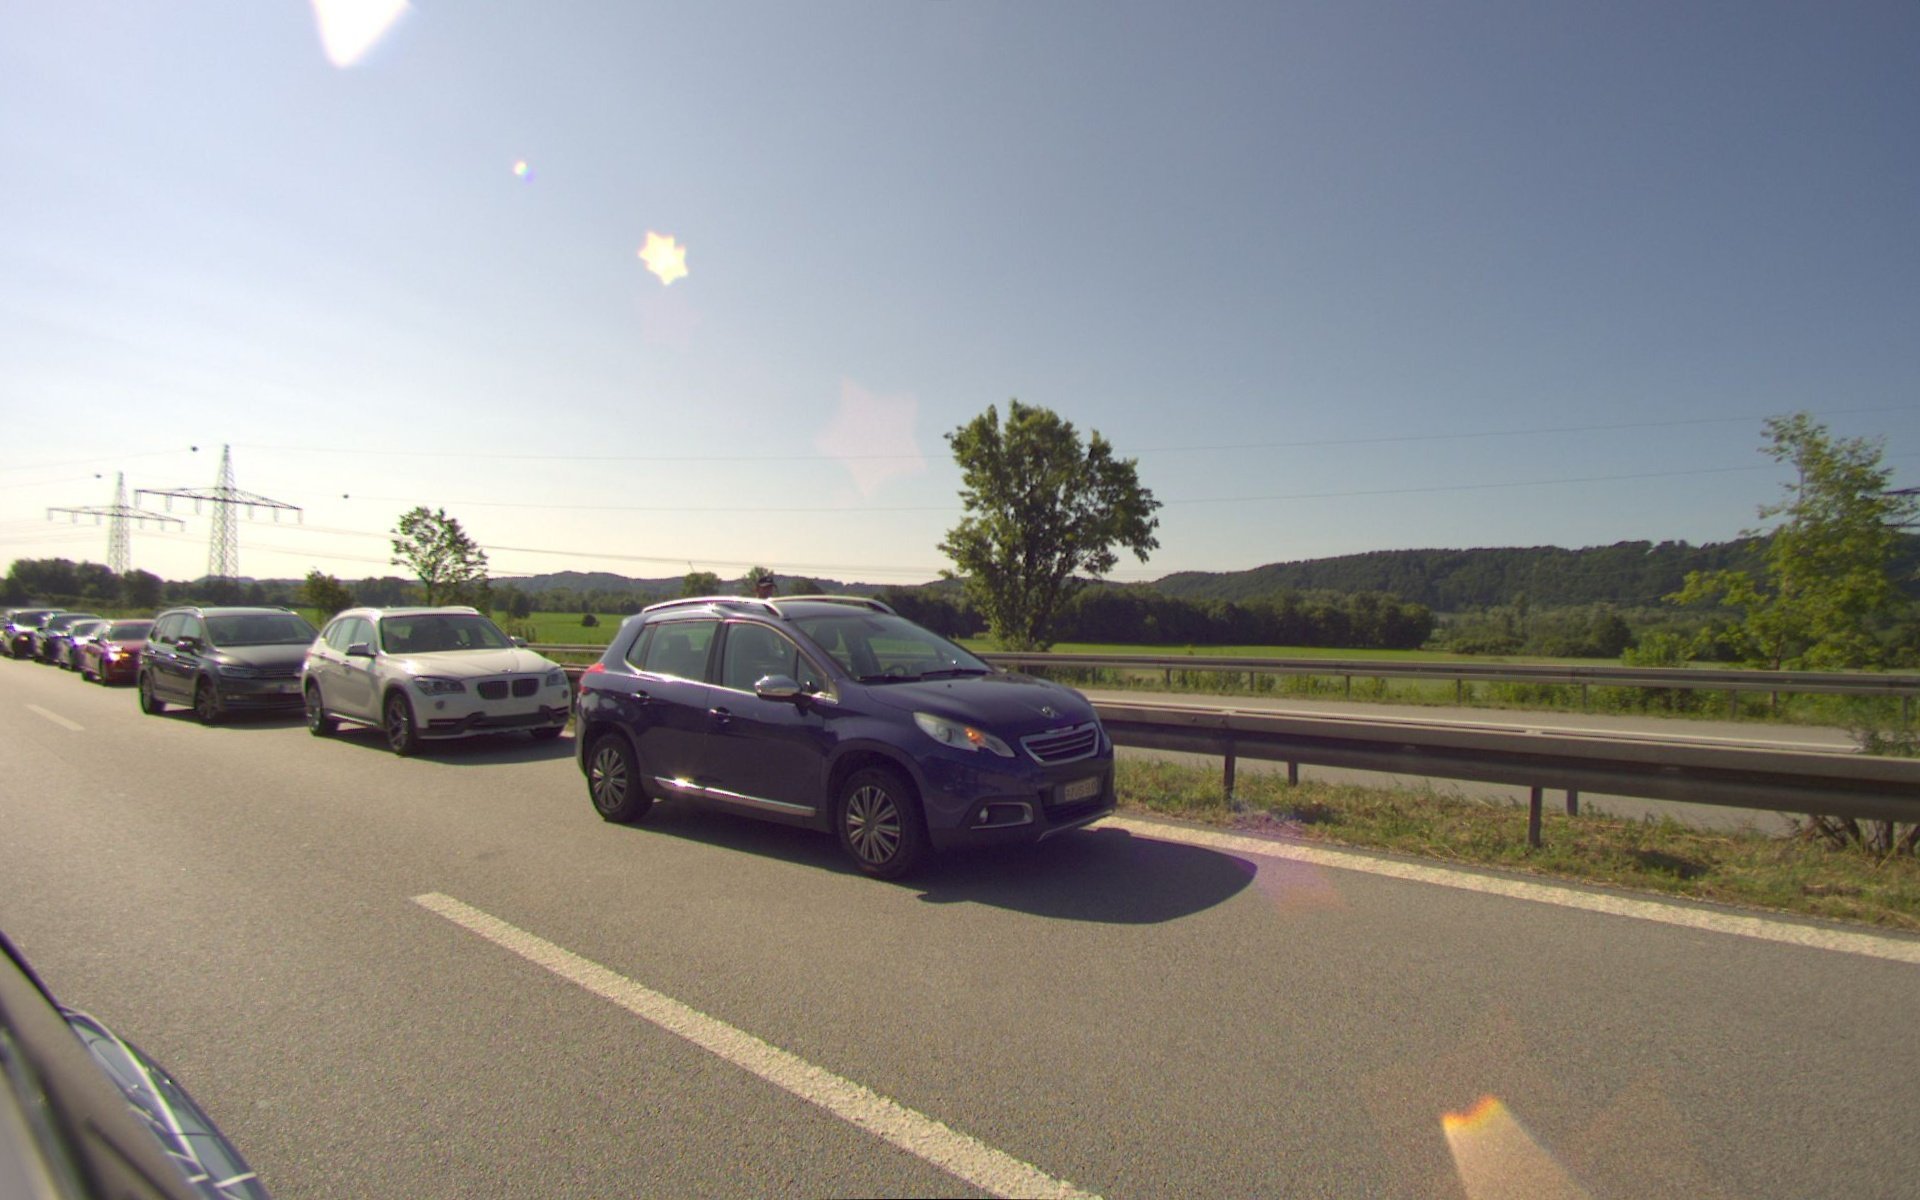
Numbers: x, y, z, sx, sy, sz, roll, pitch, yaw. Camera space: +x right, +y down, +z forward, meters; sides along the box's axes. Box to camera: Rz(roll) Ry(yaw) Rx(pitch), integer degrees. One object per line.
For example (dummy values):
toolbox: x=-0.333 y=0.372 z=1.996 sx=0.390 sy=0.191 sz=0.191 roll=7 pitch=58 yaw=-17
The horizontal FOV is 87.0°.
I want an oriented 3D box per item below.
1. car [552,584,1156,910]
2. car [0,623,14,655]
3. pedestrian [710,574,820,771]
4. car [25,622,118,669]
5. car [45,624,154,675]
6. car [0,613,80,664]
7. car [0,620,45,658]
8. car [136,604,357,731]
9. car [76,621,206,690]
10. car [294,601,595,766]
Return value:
car: x=-0.878 y=0.723 z=6.713 sx=3.944 sy=1.546 sz=1.671 roll=-1 pitch=0 yaw=39
car: x=-47.463 y=1.879 z=49.067 sx=3.998 sy=1.542 sz=1.973 roll=-1 pitch=-2 yaw=41
pedestrian: x=-1.850 y=0.659 z=9.587 sx=0.814 sy=1.764 sz=0.663 roll=-1 pitch=-2 yaw=41
car: x=-29.770 y=1.485 z=33.869 sx=3.999 sy=1.466 sz=1.869 roll=-1 pitch=-2 yaw=42
car: x=-25.307 y=1.406 z=29.724 sx=3.998 sy=1.409 sz=1.870 roll=-1 pitch=-2 yaw=41
car: x=-34.985 y=1.439 z=38.343 sx=4.198 sy=1.801 sz=1.877 roll=-1 pitch=-2 yaw=41
car: x=-40.464 y=1.629 z=42.964 sx=3.998 sy=1.542 sz=1.973 roll=-1 pitch=-2 yaw=41
car: x=-10.770 y=0.917 z=15.163 sx=4.115 sy=1.628 sz=1.796 roll=-1 pitch=-1 yaw=41
car: x=-19.122 y=1.239 z=23.584 sx=4.117 sy=1.470 sz=1.795 roll=-1 pitch=-2 yaw=43
car: x=-6.156 y=0.850 z=11.868 sx=4.163 sy=1.586 sz=1.808 roll=-1 pitch=-1 yaw=42
